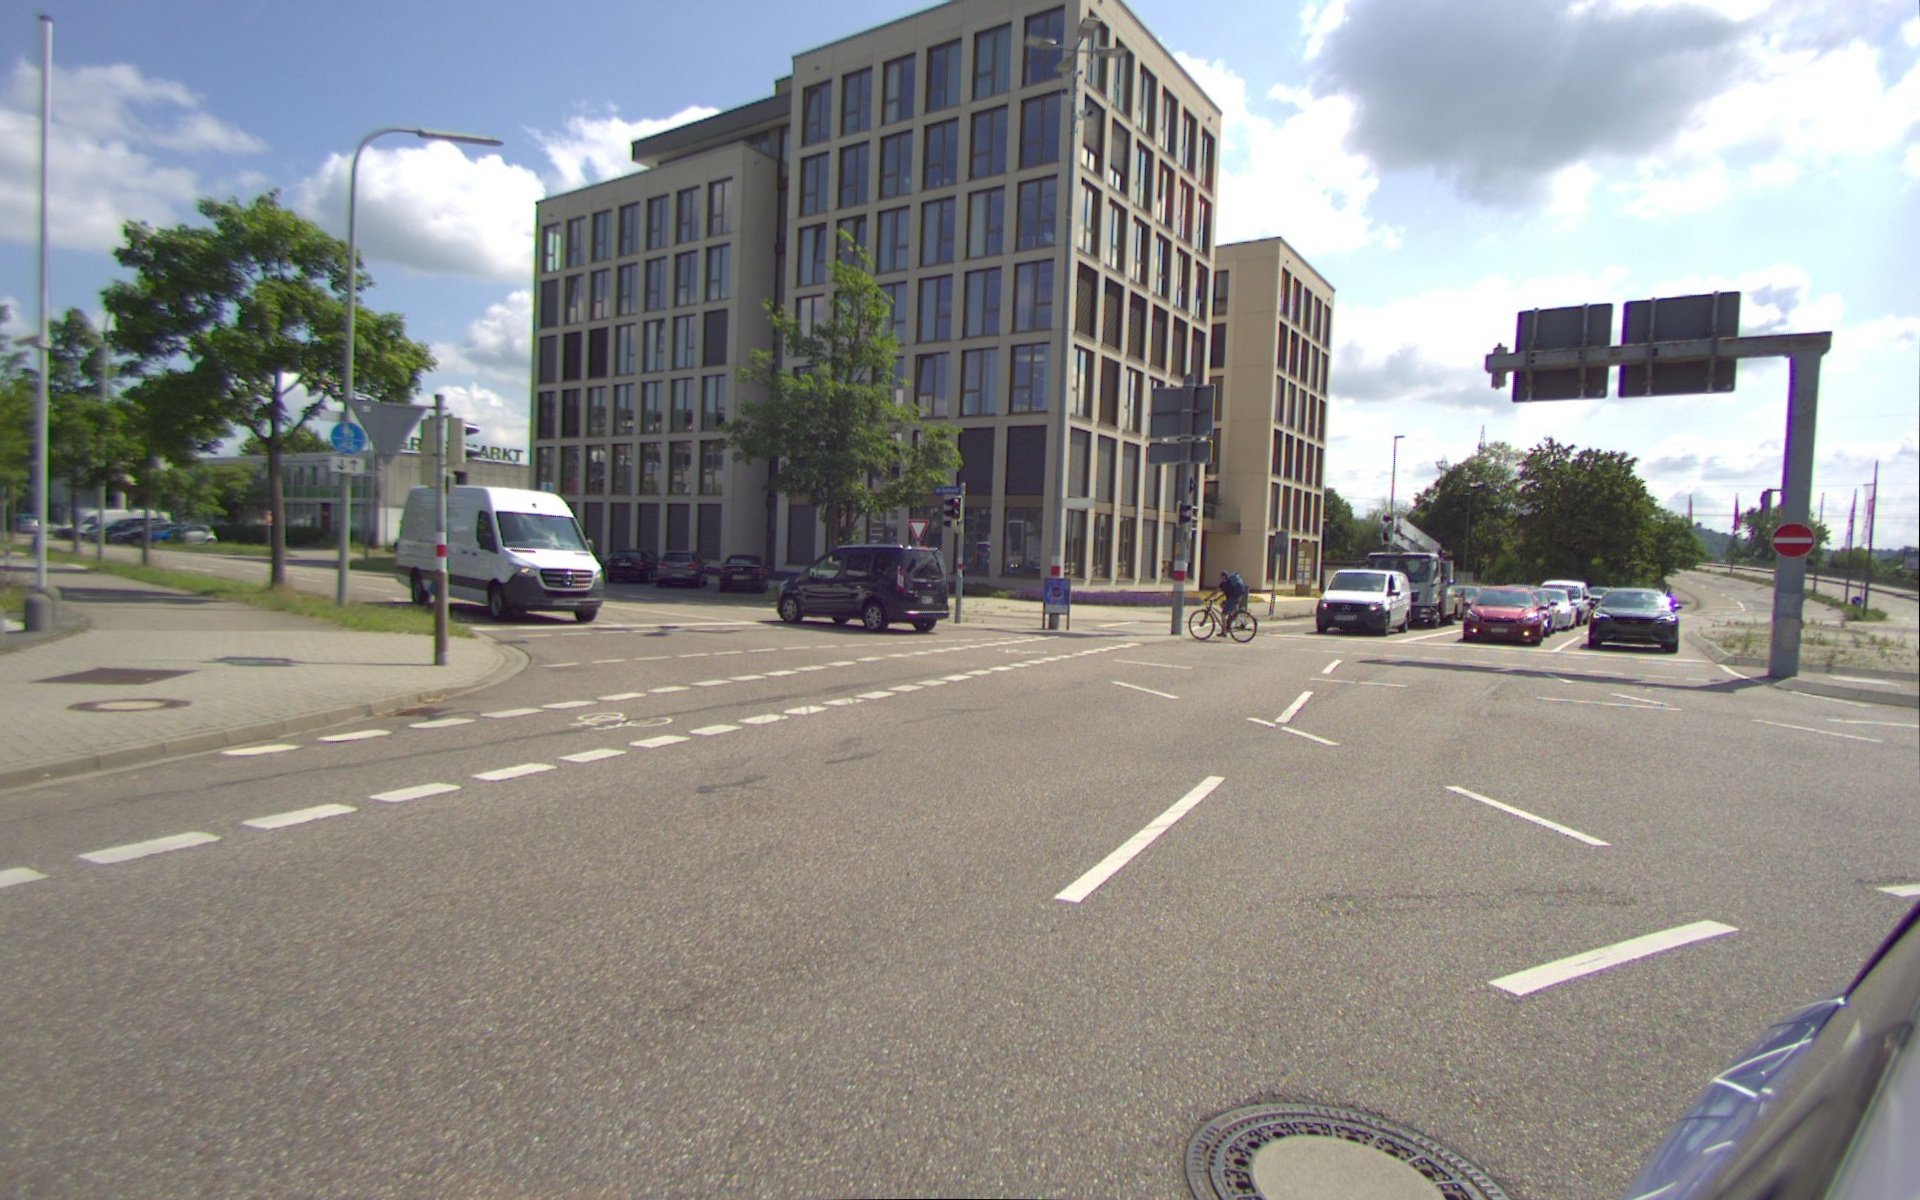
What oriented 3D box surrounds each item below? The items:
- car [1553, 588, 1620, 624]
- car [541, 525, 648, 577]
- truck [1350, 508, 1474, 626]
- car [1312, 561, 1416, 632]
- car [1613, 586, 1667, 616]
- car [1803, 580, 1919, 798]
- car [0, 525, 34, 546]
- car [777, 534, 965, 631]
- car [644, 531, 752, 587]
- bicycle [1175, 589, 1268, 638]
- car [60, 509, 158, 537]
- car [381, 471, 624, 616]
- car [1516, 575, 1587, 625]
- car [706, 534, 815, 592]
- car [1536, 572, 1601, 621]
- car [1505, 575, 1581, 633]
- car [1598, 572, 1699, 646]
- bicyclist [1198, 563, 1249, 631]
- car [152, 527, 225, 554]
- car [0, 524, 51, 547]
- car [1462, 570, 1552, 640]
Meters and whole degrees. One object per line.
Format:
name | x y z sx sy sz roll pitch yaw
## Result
car | 35.367 0.362 57.058 4.631 1.861 1.826 2 1 -40
car | -15.668 -2.073 43.606 1.984 2.039 3.956 2 1 31
truck | 16.143 -1.024 35.654 2.655 3.599 9.671 2 1 32
car | 11.888 -0.082 29.587 1.985 1.861 4.936 2 1 31
car | 44.790 0.063 66.651 4.366 1.861 1.826 2 1 -40
car | 9.186 0.714 6.961 5.107 1.496 1.814 2 1 2
car | -99.582 -6.788 105.618 1.984 2.039 3.956 2 1 31
car | -2.020 -0.424 22.311 3.982 1.928 1.803 3 2 39
car | -10.555 -1.631 40.948 1.984 2.039 3.956 2 1 31
bicycle | 5.953 0.287 23.148 1.971 1.024 0.639 3 1 43
car | -75.669 -6.781 90.100 2.559 2.039 6.276 2 1 37
car | -9.919 -1.139 21.542 6.838 2.639 2.107 3 1 42
car | 21.469 0.008 36.681 1.817 1.647 4.157 2 1 36
car | -7.641 -1.386 39.097 1.984 2.039 3.956 2 1 31
car | 25.138 -0.117 41.758 1.818 1.861 4.385 2 1 37
car | 18.313 0.118 31.708 1.815 1.647 4.161 2 1 33
car | 17.097 0.206 25.287 1.814 1.647 4.164 2 1 31
bicyclist | 6.015 -0.071 23.093 0.912 1.496 0.628 2 0 42
car | -56.395 -4.339 73.998 1.992 1.772 3.941 2 1 41
car | -96.179 -6.622 103.812 1.984 2.039 3.956 2 1 31
car | 14.426 0.120 26.583 1.814 1.647 4.164 2 1 31
